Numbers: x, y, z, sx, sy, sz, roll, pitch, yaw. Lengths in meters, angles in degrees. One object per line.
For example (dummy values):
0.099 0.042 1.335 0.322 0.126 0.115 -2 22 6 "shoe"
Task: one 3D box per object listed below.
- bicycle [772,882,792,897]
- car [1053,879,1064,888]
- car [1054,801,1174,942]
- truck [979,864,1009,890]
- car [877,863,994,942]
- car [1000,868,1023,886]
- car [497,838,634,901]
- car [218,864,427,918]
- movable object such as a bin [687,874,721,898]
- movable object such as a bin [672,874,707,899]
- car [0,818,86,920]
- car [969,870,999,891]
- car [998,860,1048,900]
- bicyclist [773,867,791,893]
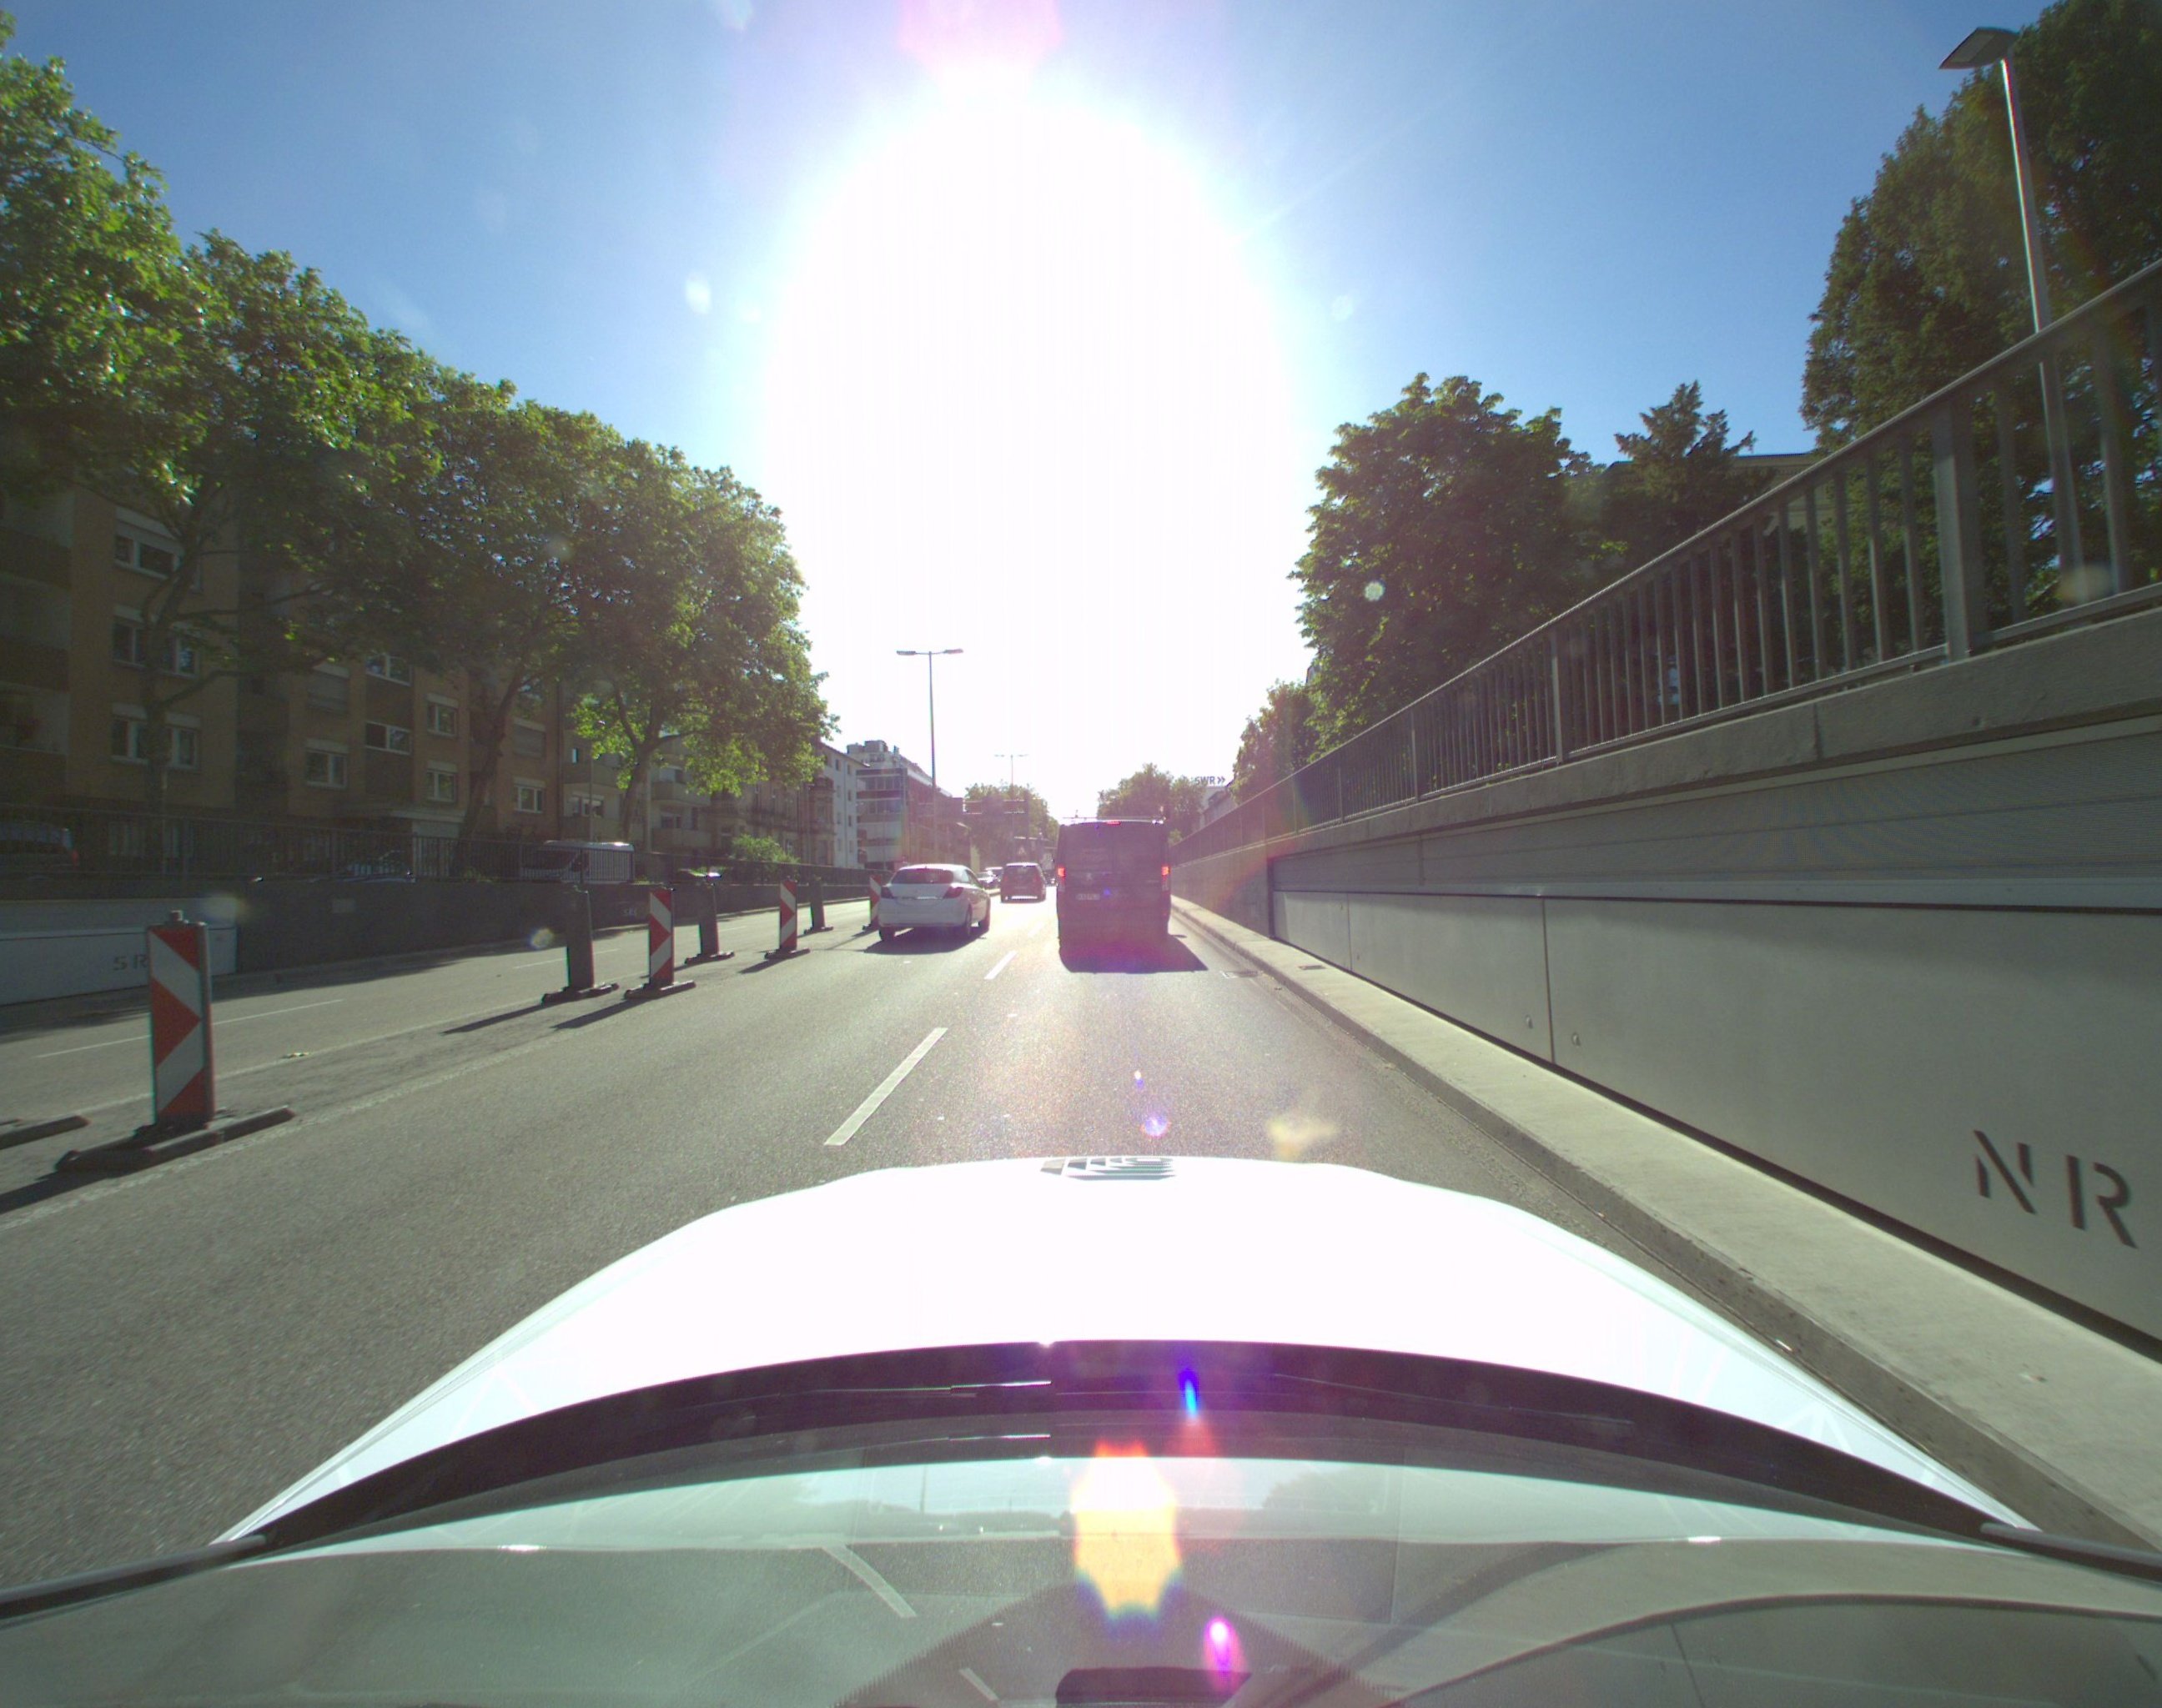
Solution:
-18.937 2.221 51.554 0.654 0.927 1.757 0 -2 -2 "bicycle"
-4.135 5.473 150.431 1.929 1.555 3.924 0 -2 2 "car"
0.619 0.355 16.109 2.023 2.403 3.973 -1 -2 1 "car"
-9.325 2.487 87.947 2.220 2.528 6.131 -3 -2 2 "truck"
-2.842 0.895 16.650 1.613 1.403 3.852 0 0 1 "car"
-6.447 2.110 75.826 1.603 1.457 3.608 -5 -1 1 "car"
-21.154 0.663 33.777 1.986 2.360 5.421 0 -2 2 "car"
-21.459 1.021 23.333 1.986 1.389 4.173 0 -2 1 "car"
-21.925 1.862 47.402 1.274 1.402 1.325 0 -2 1 "movable object such as a bin"
-22.105 1.826 46.035 1.274 1.402 1.301 0 -2 1 "movable object such as a bin"
-21.656 0.264 14.614 1.960 1.961 4.525 0 -2 -1 "car"
-6.815 1.861 57.451 1.533 1.300 3.928 -4 -1 1 "car"
-2.244 0.984 32.322 1.683 1.483 3.319 0 -1 1 "car"
-18.949 1.670 51.623 0.773 1.633 1.022 0 -2 -2 "bicyclist"
